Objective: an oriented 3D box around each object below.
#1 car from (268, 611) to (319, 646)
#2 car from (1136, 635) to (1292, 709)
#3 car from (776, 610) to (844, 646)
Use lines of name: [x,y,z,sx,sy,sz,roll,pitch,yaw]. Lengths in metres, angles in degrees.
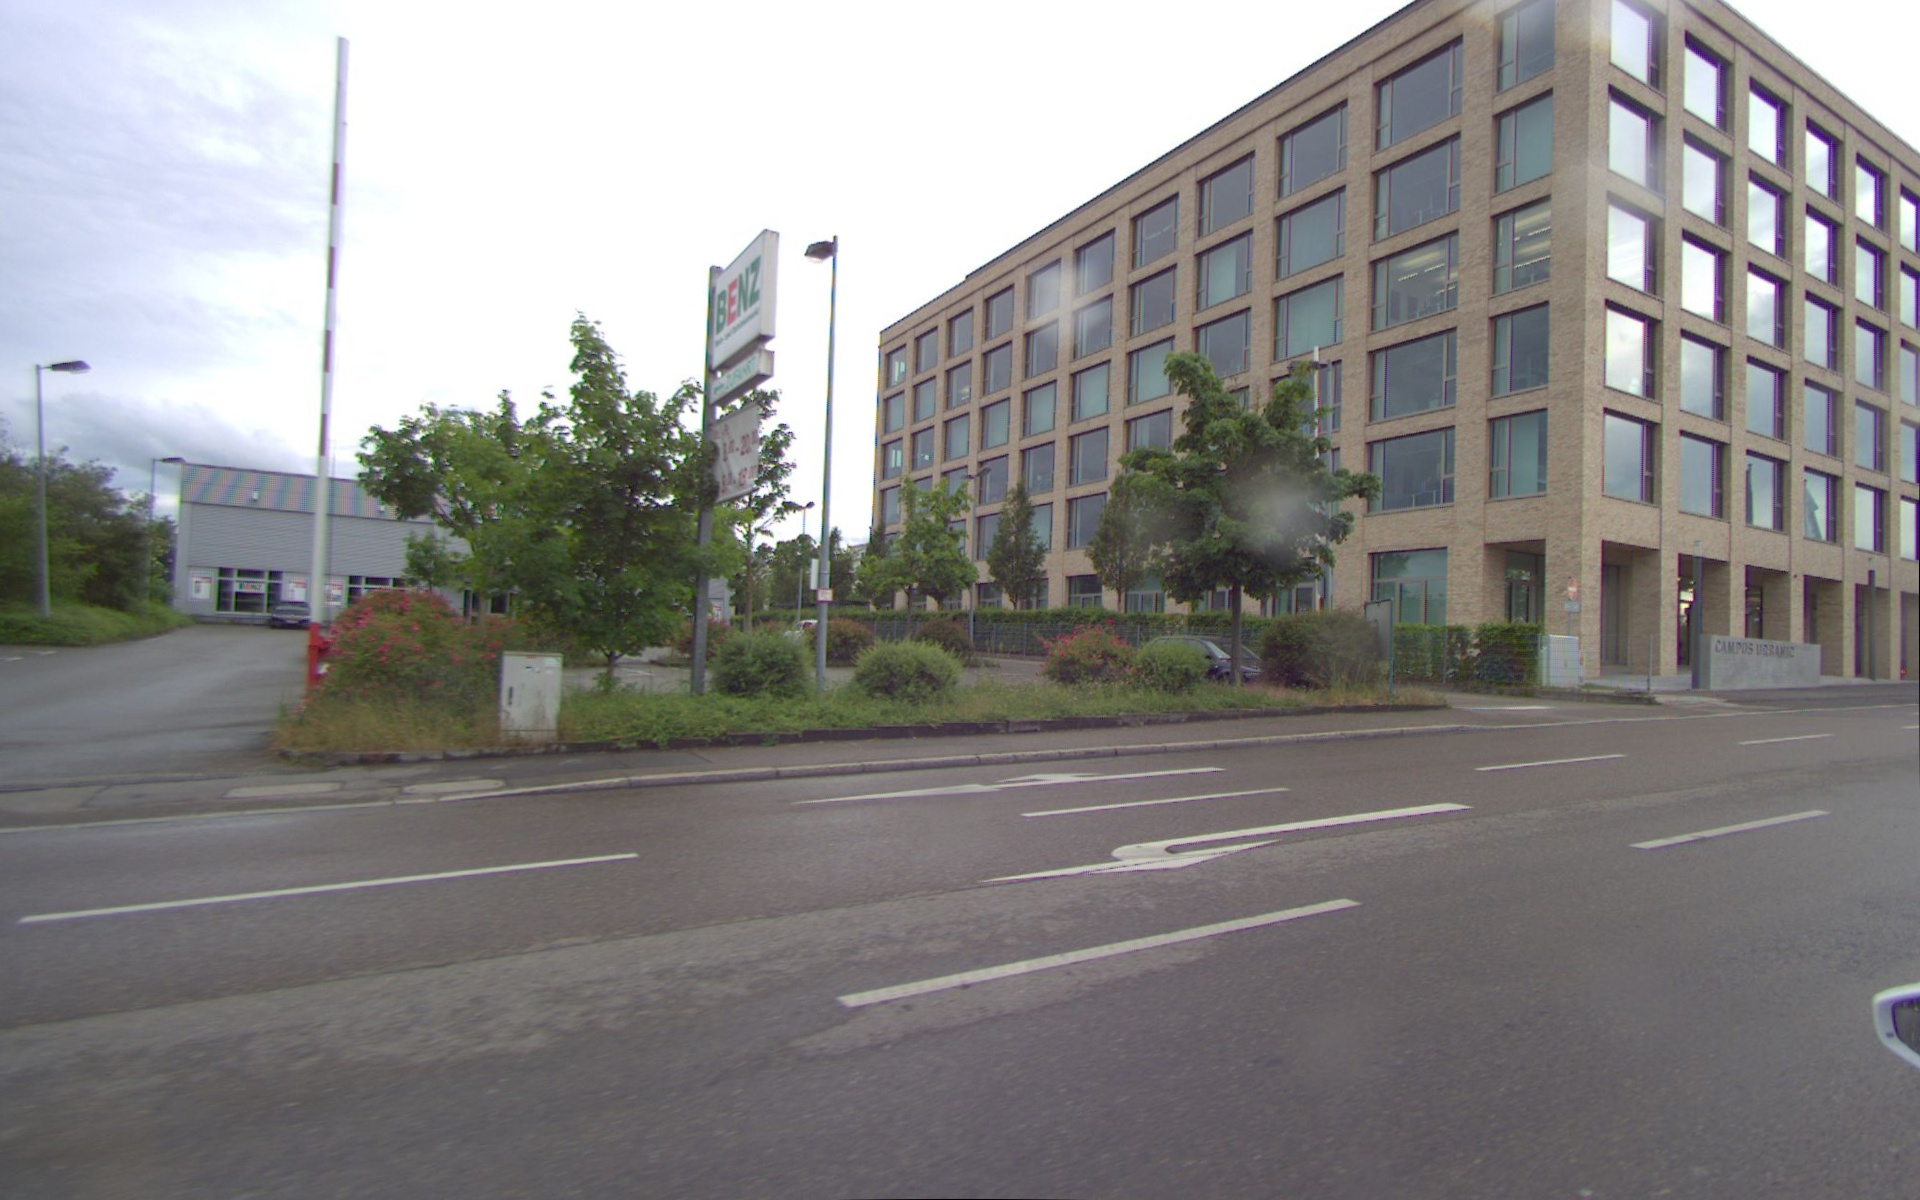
car: [-34.731,1.445,52.426,1.977,1.706,3.967,2,-1,-31]
car: [5.818,1.612,23.338,1.525,1.483,3.471,2,-1,-30]
car: [-7.436,1.363,49.552,1.977,1.617,3.966,2,-1,-31]
